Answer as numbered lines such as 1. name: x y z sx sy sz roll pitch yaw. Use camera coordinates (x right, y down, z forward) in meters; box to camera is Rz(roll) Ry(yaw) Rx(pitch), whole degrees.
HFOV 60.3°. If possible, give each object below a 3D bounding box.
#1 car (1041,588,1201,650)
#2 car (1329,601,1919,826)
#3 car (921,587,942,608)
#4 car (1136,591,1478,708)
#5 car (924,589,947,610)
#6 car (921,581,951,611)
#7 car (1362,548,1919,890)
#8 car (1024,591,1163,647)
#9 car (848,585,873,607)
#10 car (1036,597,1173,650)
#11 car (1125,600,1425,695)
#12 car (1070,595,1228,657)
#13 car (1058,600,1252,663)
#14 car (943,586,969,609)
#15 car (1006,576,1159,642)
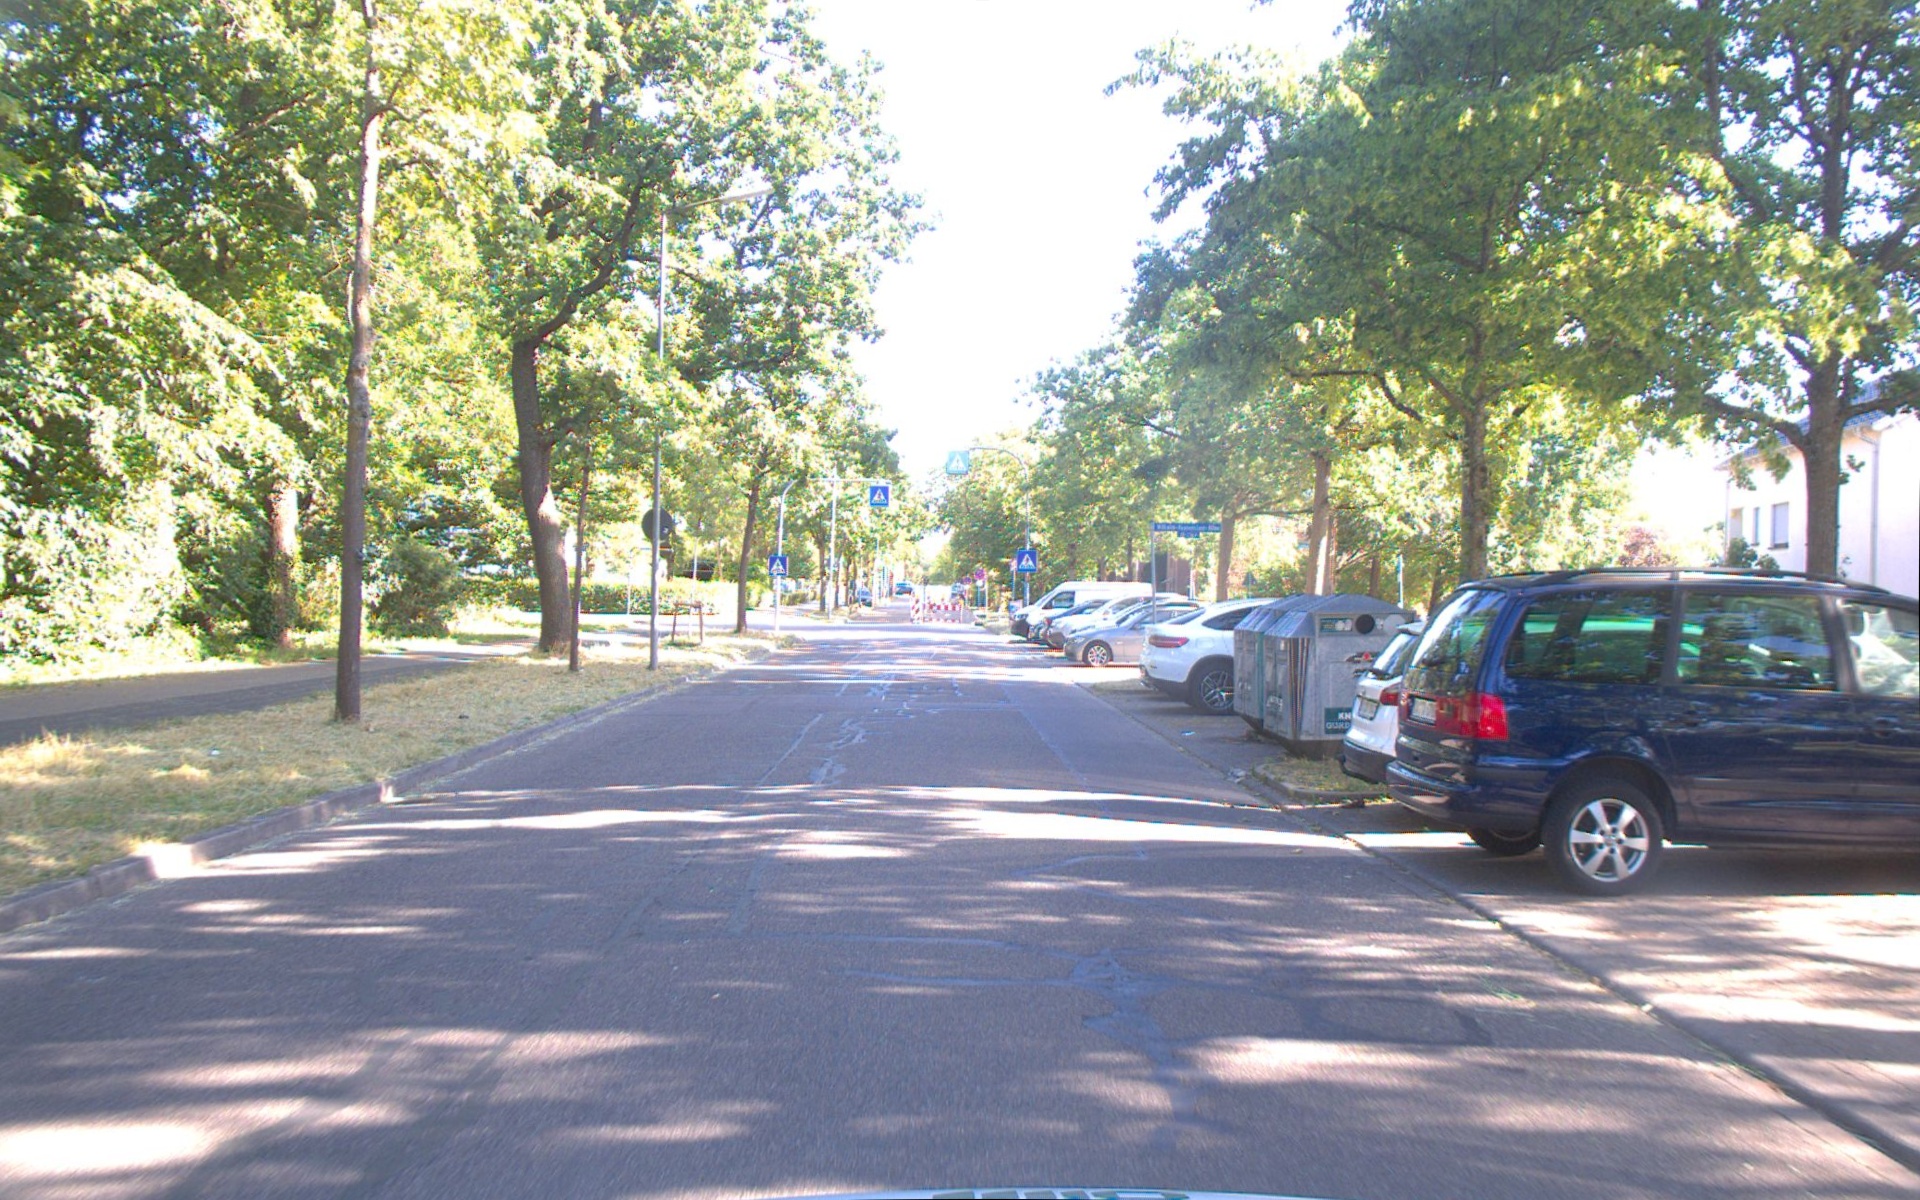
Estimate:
1. car: 4.528 0.521 46.934 4.296 1.680 1.850 0 0 -3
2. car: 4.962 0.771 12.098 4.134 1.497 1.800 0 0 0
3. car: -2.827 -0.239 163.435 1.953 2.003 3.999 2 0 -2
4. car: 4.947 0.689 24.034 4.575 1.608 1.916 0 0 -1
5. car: -2.218 -0.063 149.629 1.953 1.746 3.999 2 0 -2
6. car: -1.643 -0.278 112.891 1.953 1.966 3.999 2 0 -2
7. car: 4.855 0.638 9.868 4.438 1.832 1.936 0 0 -1
8. car: 4.161 0.579 52.079 4.128 1.596 1.932 2 0 -3
9. car: -8.408 -0.317 140.025 1.953 1.746 3.999 2 0 -2
10. car: 4.283 0.695 49.464 3.905 1.458 1.901 1 0 0
11. car: 5.121 0.758 27.309 4.576 1.481 1.916 0 0 -2
12. car: 4.800 0.650 42.316 3.806 1.523 1.777 0 0 -2
13. car: 4.579 0.729 39.329 4.355 1.414 1.911 1 0 -1
14. car: -0.342 -0.212 133.915 1.953 1.746 3.999 2 0 -2
15. car: 4.197 0.303 57.238 5.083 2.142 2.081 1 0 -3
